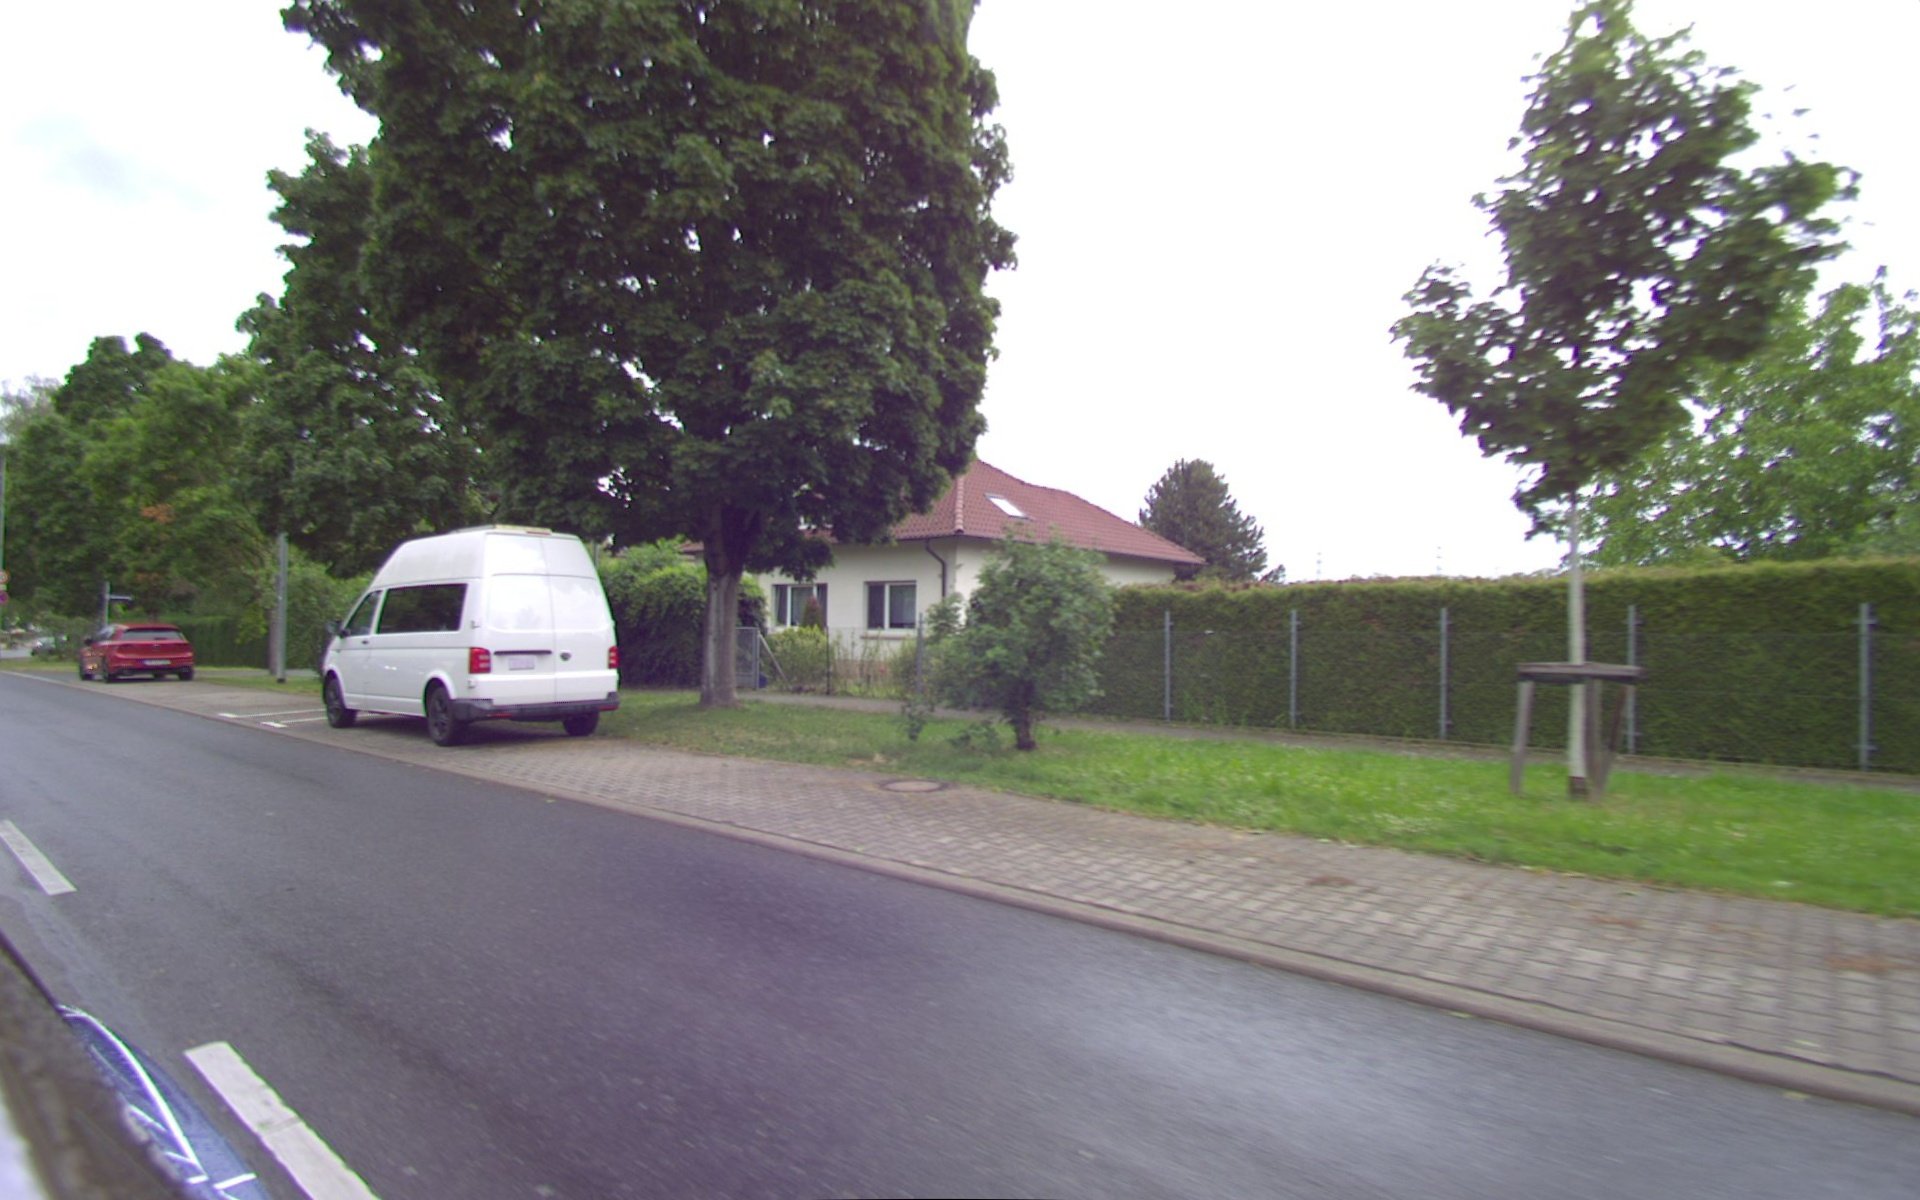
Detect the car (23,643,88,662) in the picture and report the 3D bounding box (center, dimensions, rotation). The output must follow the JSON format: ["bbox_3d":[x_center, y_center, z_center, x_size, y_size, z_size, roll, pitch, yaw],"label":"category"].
[{"bbox_3d":[-85.968,4.998,96.227,4.368,1.428,1.760,-3,0,-34],"label":"car"}]

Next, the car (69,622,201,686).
[{"bbox_3d":[-20.896,1.334,25.579,4.246,1.477,1.824,-2,-2,40],"label":"car"}]

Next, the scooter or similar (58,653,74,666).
[{"bbox_3d":[-78.116,5.198,88.414,0.418,1.167,1.494,-2,-2,-14],"label":"scooter or similar"}]

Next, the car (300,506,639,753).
[{"bbox_3d":[-6.473,0.391,13.041,5.229,2.580,1.973,-2,-3,40],"label":"car"}]
